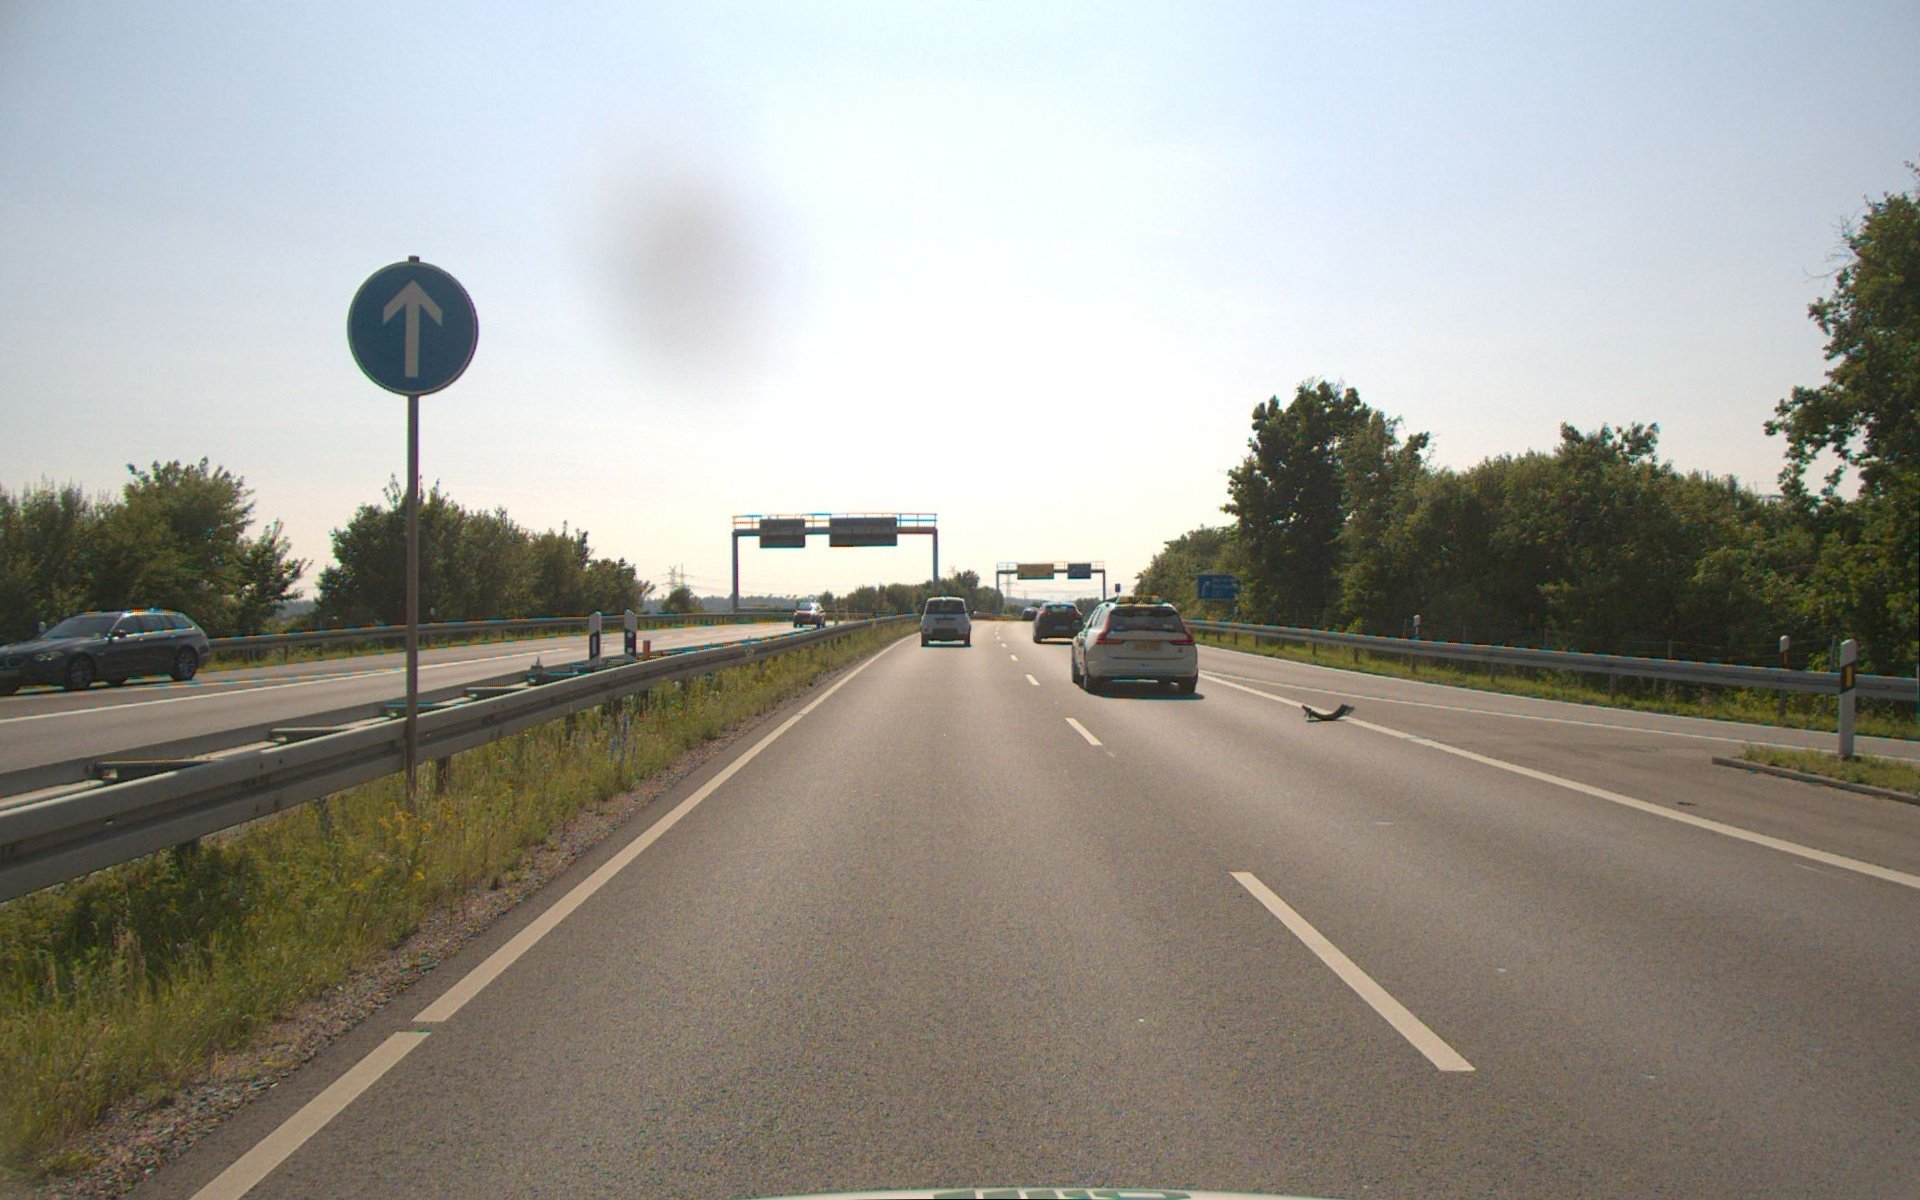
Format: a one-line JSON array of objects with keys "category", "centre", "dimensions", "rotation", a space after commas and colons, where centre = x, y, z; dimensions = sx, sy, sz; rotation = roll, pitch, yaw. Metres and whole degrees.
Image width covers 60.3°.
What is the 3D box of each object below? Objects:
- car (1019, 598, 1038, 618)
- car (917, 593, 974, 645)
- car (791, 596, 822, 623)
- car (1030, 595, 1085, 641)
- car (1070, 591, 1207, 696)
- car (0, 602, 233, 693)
[{"category": "car", "centre": [7.237, 0.839, 175.418], "dimensions": [1.952, 2.049, 4.001], "rotation": [1, 0, 2]}, {"category": "car", "centre": [-0.437, 0.645, 54.370], "dimensions": [1.756, 1.530, 4.042], "rotation": [-2, -3, 0]}, {"category": "car", "centre": [-9.732, 0.603, 104.850], "dimensions": [1.609, 1.602, 4.263], "rotation": [1, 0, -1]}, {"category": "car", "centre": [3.461, 0.671, 59.082], "dimensions": [1.756, 1.570, 3.671], "rotation": [1, -1, 0]}, {"category": "car", "centre": [2.981, 0.700, 28.381], "dimensions": [1.918, 1.629, 4.107], "rotation": [1, 0, 0]}, {"category": "car", "centre": [-16.756, 0.892, 32.818], "dimensions": [1.559, 1.520, 4.818], "rotation": [-5, 0, 14]}]
